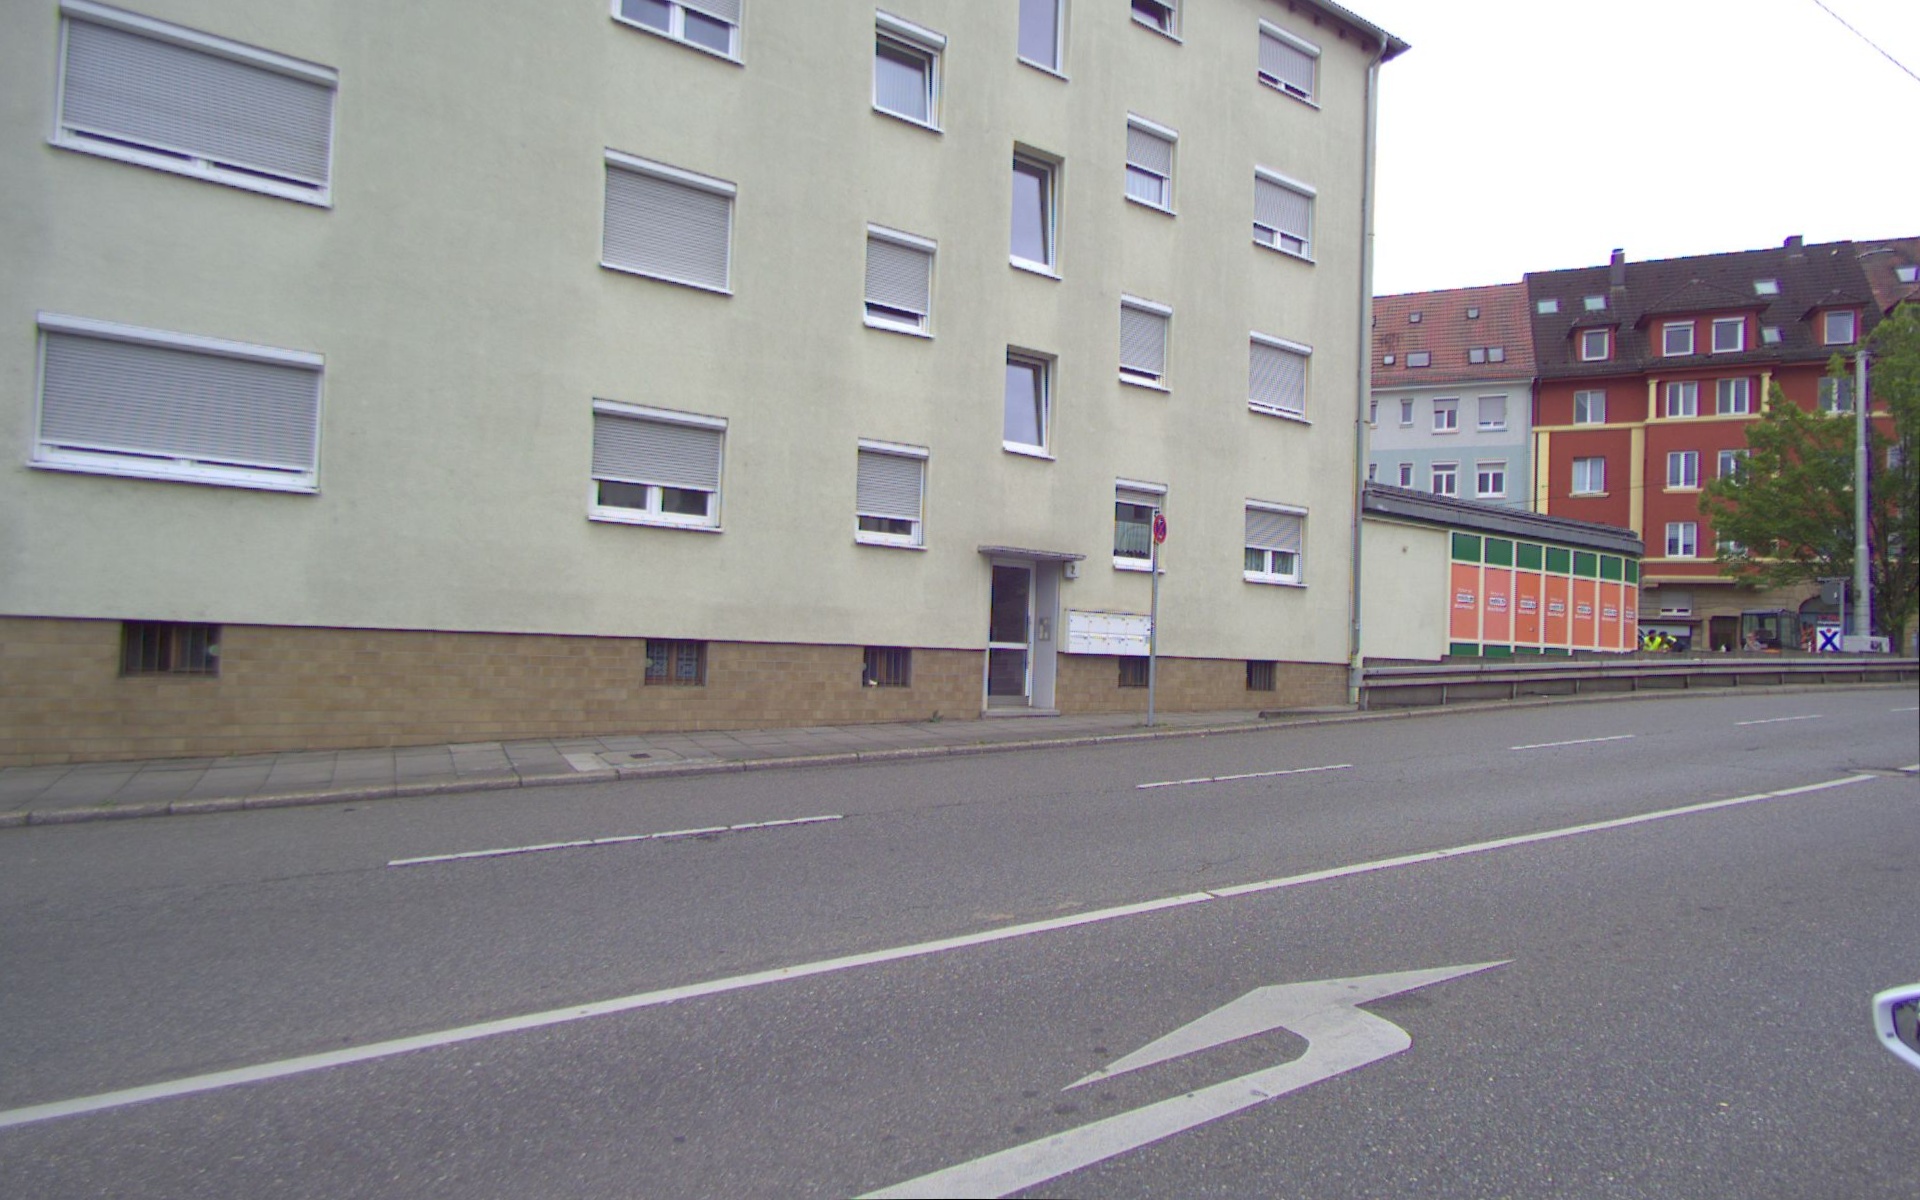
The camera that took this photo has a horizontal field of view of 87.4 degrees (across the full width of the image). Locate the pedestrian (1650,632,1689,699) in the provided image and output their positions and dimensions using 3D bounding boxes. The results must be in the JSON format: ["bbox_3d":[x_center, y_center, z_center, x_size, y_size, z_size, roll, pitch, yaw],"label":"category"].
[{"bbox_3d":[19.584,1.793,27.733,0.605,1.785,0.573,2,1,7],"label":"pedestrian"}]

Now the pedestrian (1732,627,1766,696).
[{"bbox_3d":[20.579,1.590,26.210,0.533,1.753,0.593,2,1,27],"label":"pedestrian"}]

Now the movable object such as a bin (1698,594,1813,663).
[{"bbox_3d":[22.590,0.789,28.481,3.970,1.794,1.885,2,1,-42],"label":"movable object such as a bin"}]

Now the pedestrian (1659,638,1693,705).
[{"bbox_3d":[18.882,1.869,26.492,0.539,1.722,0.558,1,1,-39],"label":"pedestrian"}]

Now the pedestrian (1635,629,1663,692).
[{"bbox_3d":[19.736,1.721,28.774,0.467,1.753,0.543,2,1,16],"label":"pedestrian"}]
